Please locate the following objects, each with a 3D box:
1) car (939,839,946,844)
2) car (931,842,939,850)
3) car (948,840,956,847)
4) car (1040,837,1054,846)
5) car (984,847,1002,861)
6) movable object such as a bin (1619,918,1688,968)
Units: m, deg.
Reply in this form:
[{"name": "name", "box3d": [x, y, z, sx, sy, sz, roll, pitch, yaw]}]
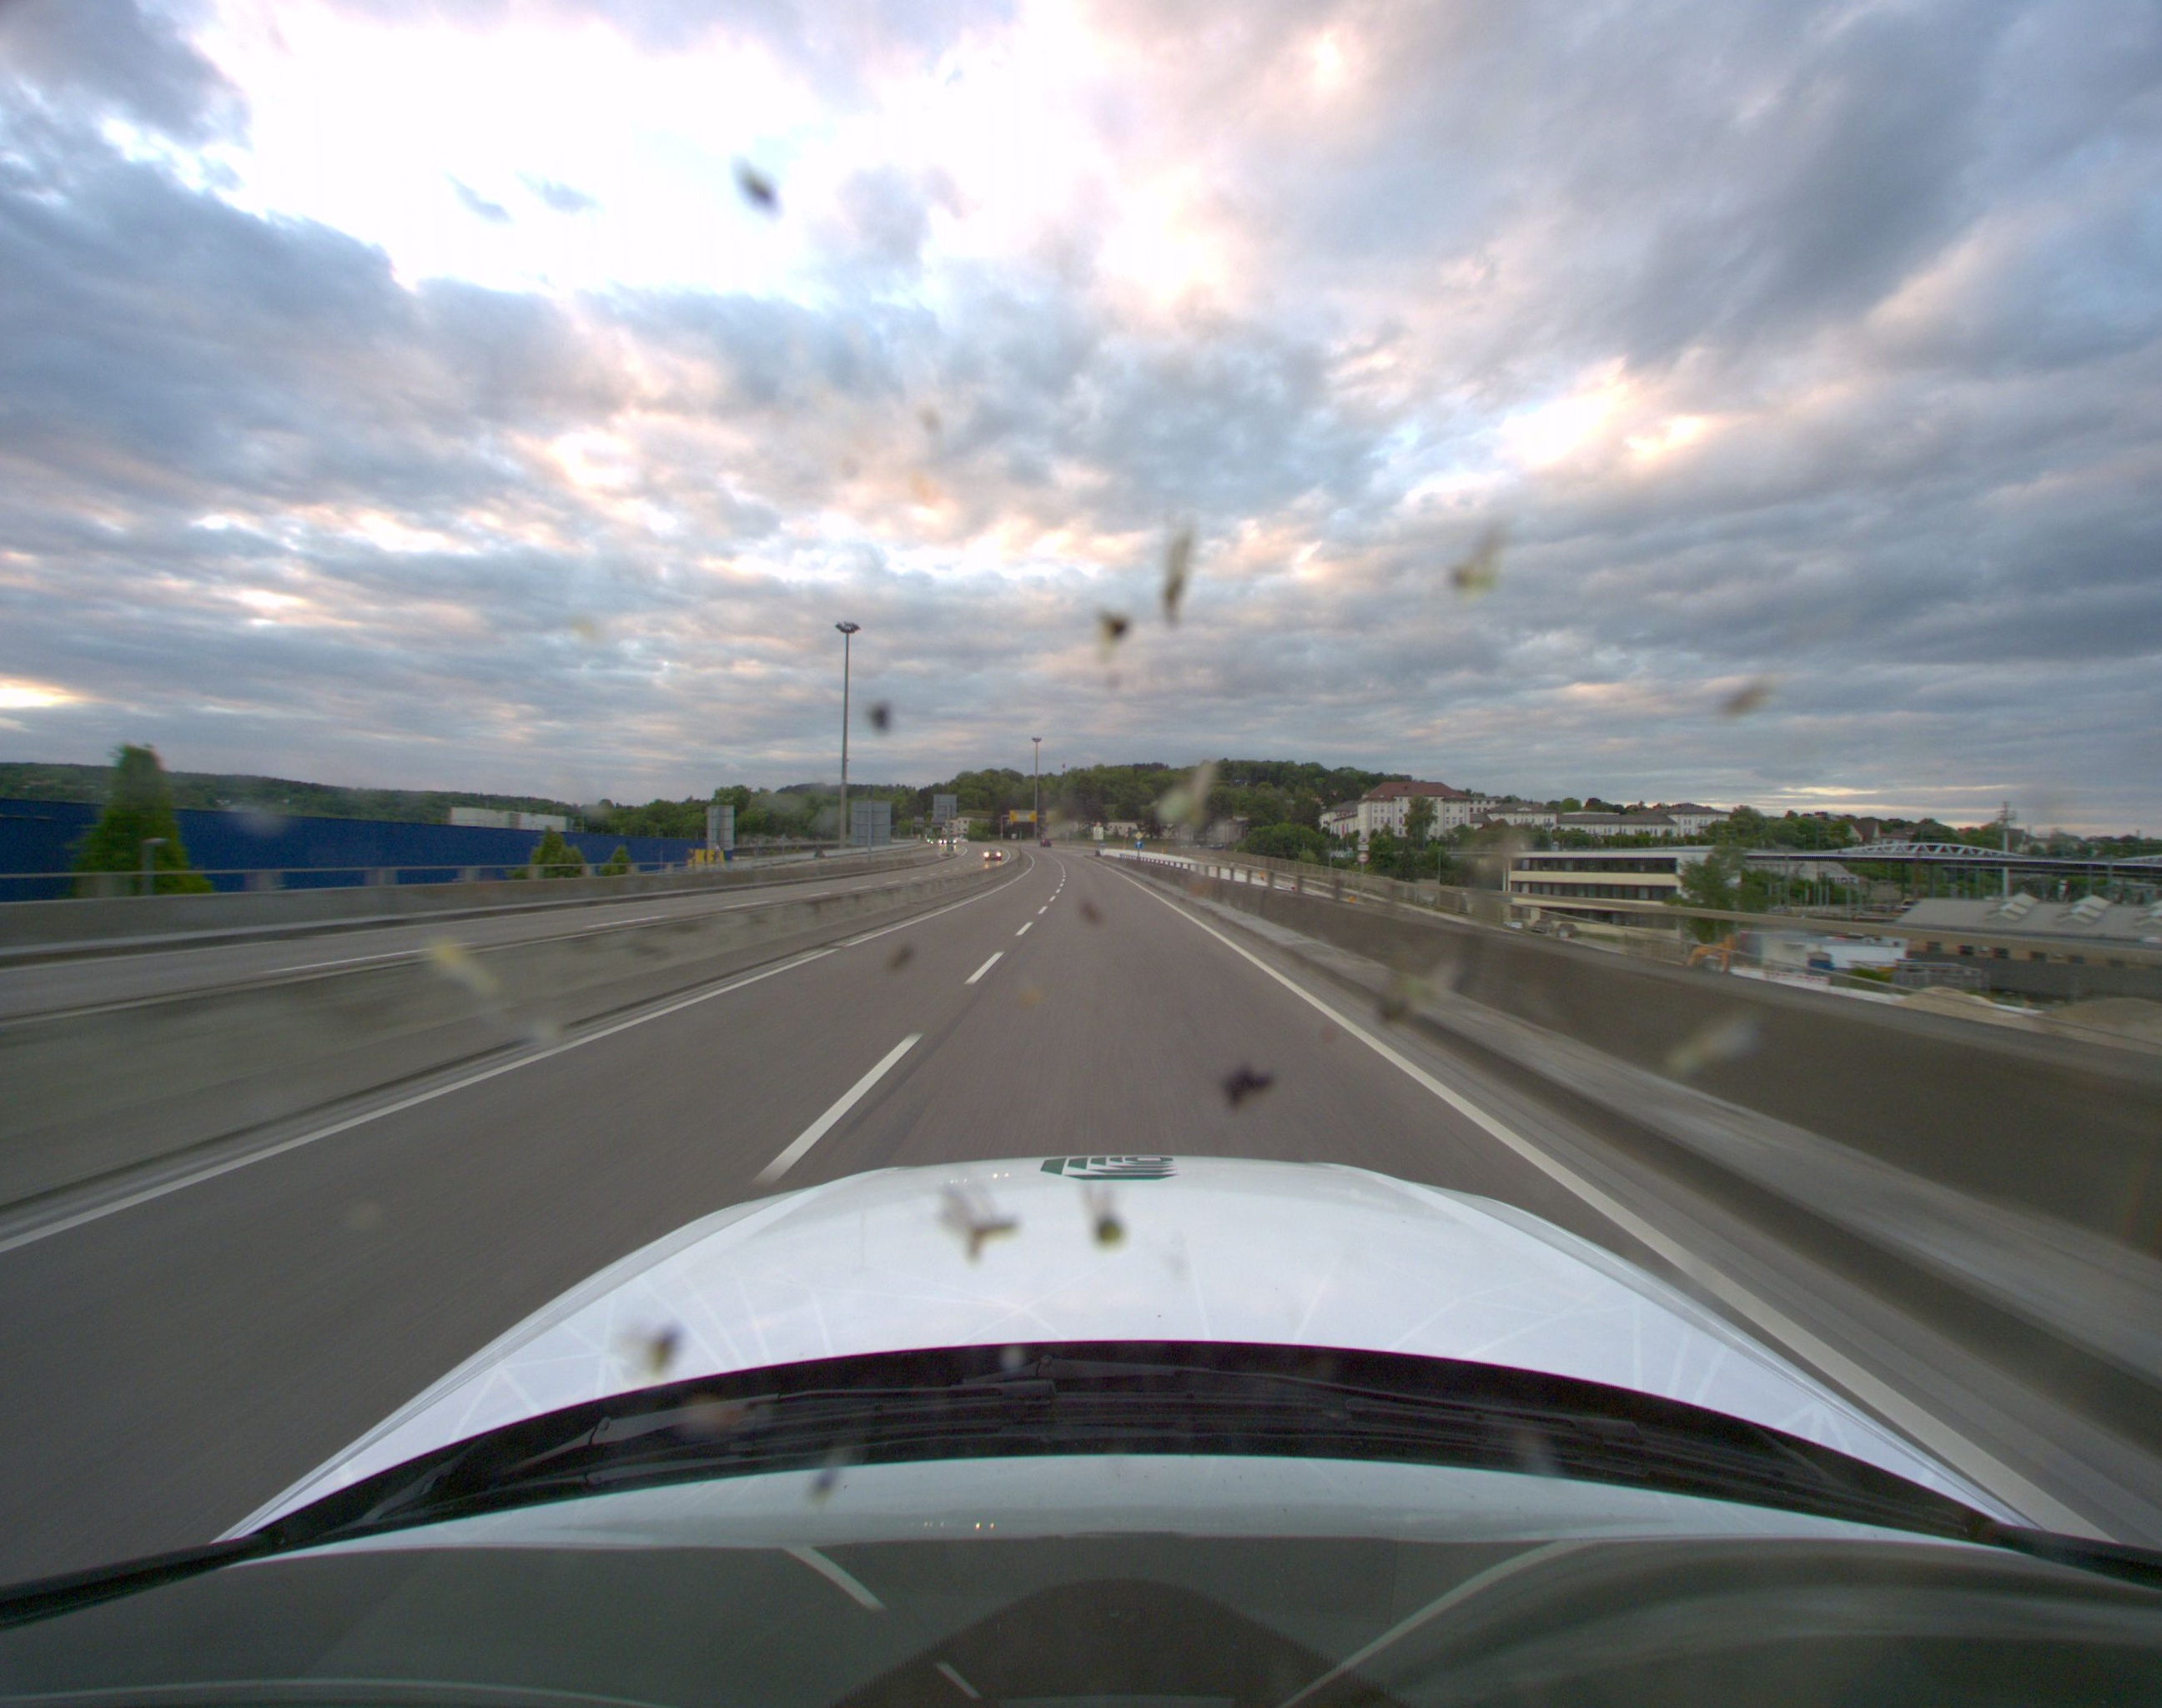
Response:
[{"name": "car", "box3d": [-38.230, -3.464, 224.587, 1.798, 1.486, 3.824, 0, 0, -13]}, {"name": "car", "box3d": [-43.549, -2.362, 242.733, 1.994, 2.013, 3.986, 6, 1, -11]}, {"name": "car", "box3d": [-32.492, -2.629, 205.536, 1.638, 1.717, 3.982, -5, 1, -13]}, {"name": "car", "box3d": [-7.387, -2.644, 175.519, 2.308, 1.763, 4.242, 1, 1, -14]}, {"name": "car", "box3d": [-9.864, -0.008, 91.238, 1.826, 1.480, 4.281, 0, 0, -4]}, {"name": "movable object such as a bin", "box3d": [58.242, 9.020, 83.028, 2.776, 4.309, 4.940, 6, 0, -10]}]
